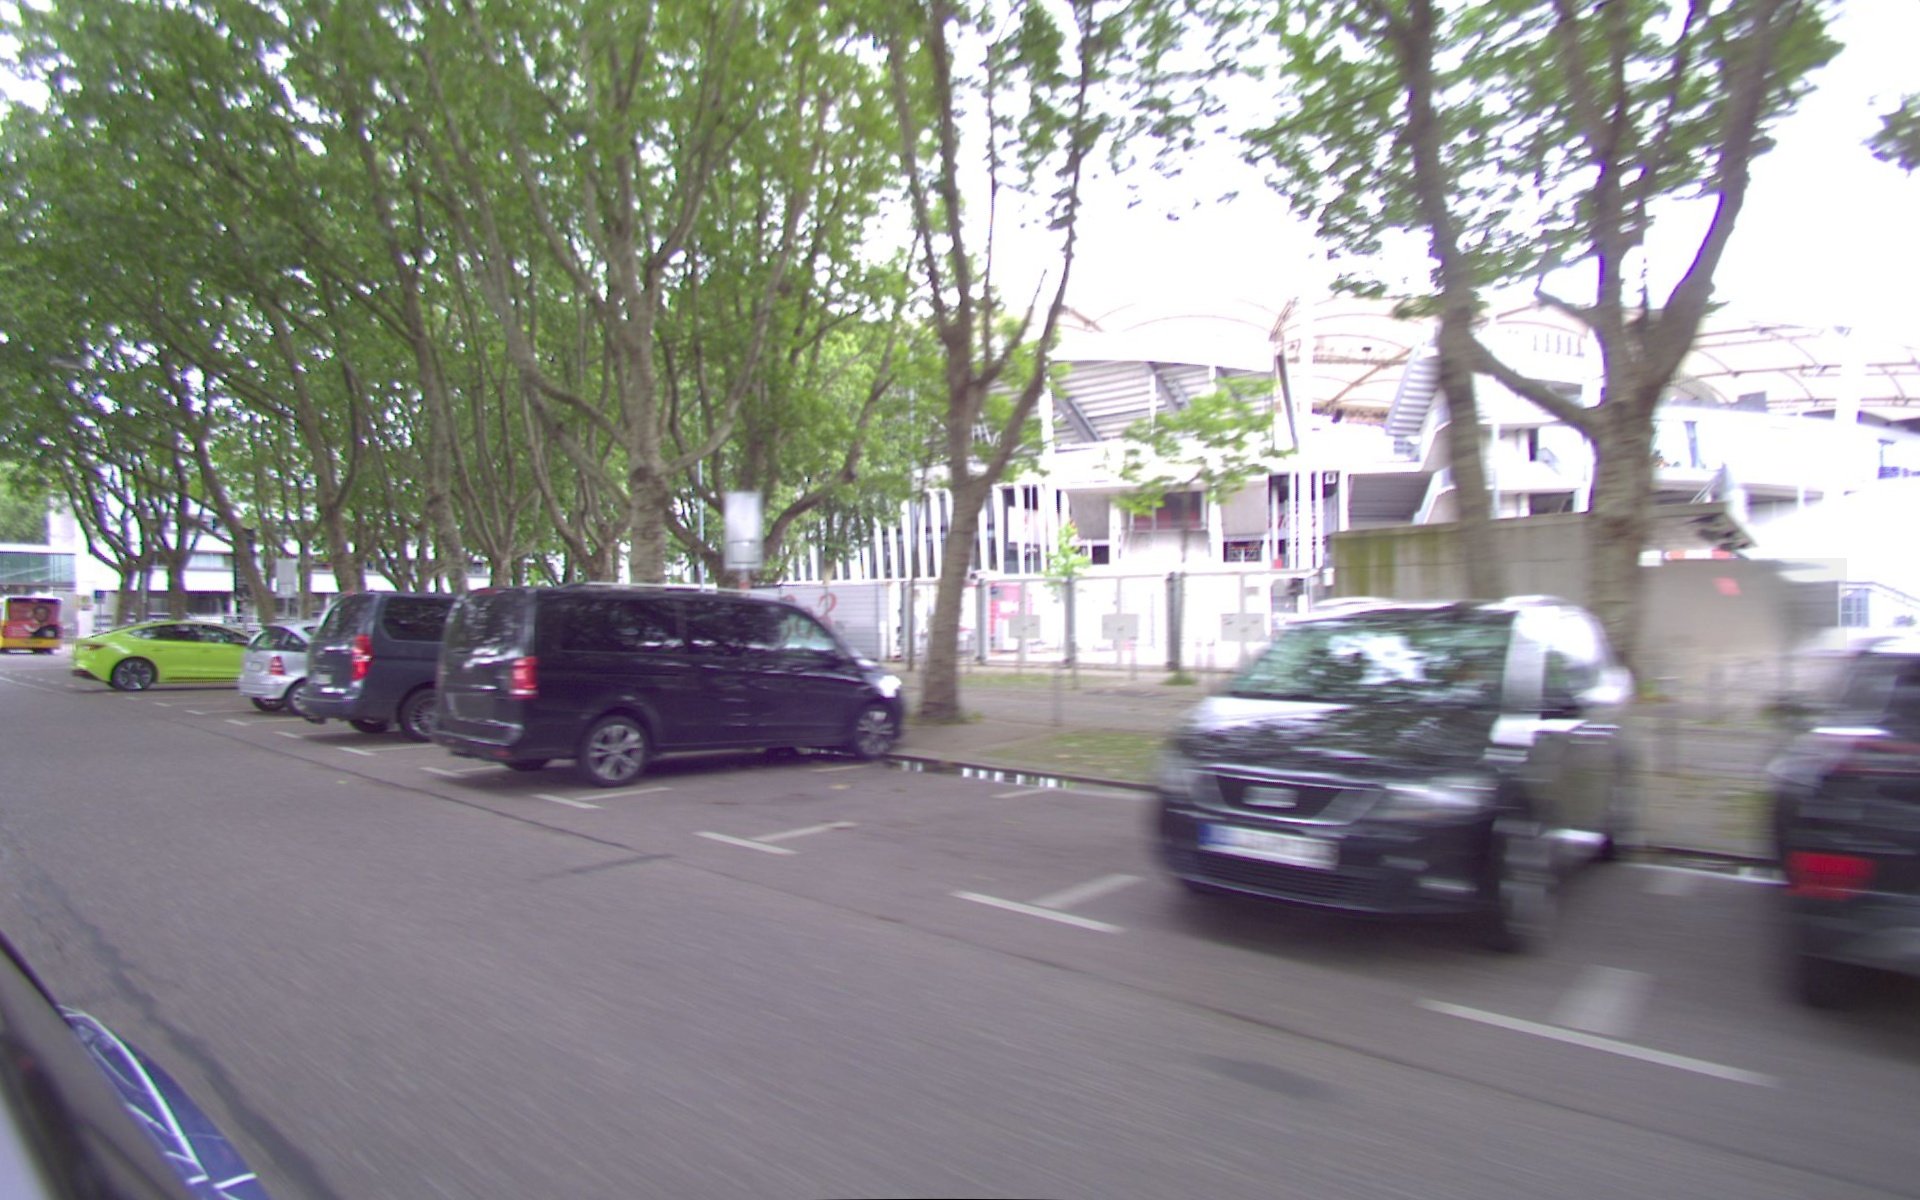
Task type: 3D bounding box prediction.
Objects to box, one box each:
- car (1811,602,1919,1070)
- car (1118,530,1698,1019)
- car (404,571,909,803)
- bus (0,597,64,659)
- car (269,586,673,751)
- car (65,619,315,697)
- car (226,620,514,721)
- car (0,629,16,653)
[{"bbox_3d":[4.872,0.828,4.247,1.754,1.505,3.854,-2,-3,43],"label":"car"},{"bbox_3d":[2.962,0.759,6.038,1.797,1.795,4.529,-3,-4,42],"label":"car"},{"bbox_3d":[-3.031,0.819,11.034,2.207,1.939,4.853,-2,-3,41],"label":"car"},{"bbox_3d":[-53.619,1.611,57.521,12.367,3.179,2.622,-2,-4,43],"label":"bus"},{"bbox_3d":[-6.682,0.919,14.343,2.016,1.939,4.715,-2,-3,39],"label":"car"},{"bbox_3d":[-18.033,1.290,23.879,1.758,1.630,4.467,-2,-2,43],"label":"car"},{"bbox_3d":[-10.403,1.215,18.114,1.754,1.581,4.067,-1,-3,36],"label":"car"},{"bbox_3d":[-66.901,2.787,69.964,4.383,1.578,1.736,-1,-6,40],"label":"car"}]
